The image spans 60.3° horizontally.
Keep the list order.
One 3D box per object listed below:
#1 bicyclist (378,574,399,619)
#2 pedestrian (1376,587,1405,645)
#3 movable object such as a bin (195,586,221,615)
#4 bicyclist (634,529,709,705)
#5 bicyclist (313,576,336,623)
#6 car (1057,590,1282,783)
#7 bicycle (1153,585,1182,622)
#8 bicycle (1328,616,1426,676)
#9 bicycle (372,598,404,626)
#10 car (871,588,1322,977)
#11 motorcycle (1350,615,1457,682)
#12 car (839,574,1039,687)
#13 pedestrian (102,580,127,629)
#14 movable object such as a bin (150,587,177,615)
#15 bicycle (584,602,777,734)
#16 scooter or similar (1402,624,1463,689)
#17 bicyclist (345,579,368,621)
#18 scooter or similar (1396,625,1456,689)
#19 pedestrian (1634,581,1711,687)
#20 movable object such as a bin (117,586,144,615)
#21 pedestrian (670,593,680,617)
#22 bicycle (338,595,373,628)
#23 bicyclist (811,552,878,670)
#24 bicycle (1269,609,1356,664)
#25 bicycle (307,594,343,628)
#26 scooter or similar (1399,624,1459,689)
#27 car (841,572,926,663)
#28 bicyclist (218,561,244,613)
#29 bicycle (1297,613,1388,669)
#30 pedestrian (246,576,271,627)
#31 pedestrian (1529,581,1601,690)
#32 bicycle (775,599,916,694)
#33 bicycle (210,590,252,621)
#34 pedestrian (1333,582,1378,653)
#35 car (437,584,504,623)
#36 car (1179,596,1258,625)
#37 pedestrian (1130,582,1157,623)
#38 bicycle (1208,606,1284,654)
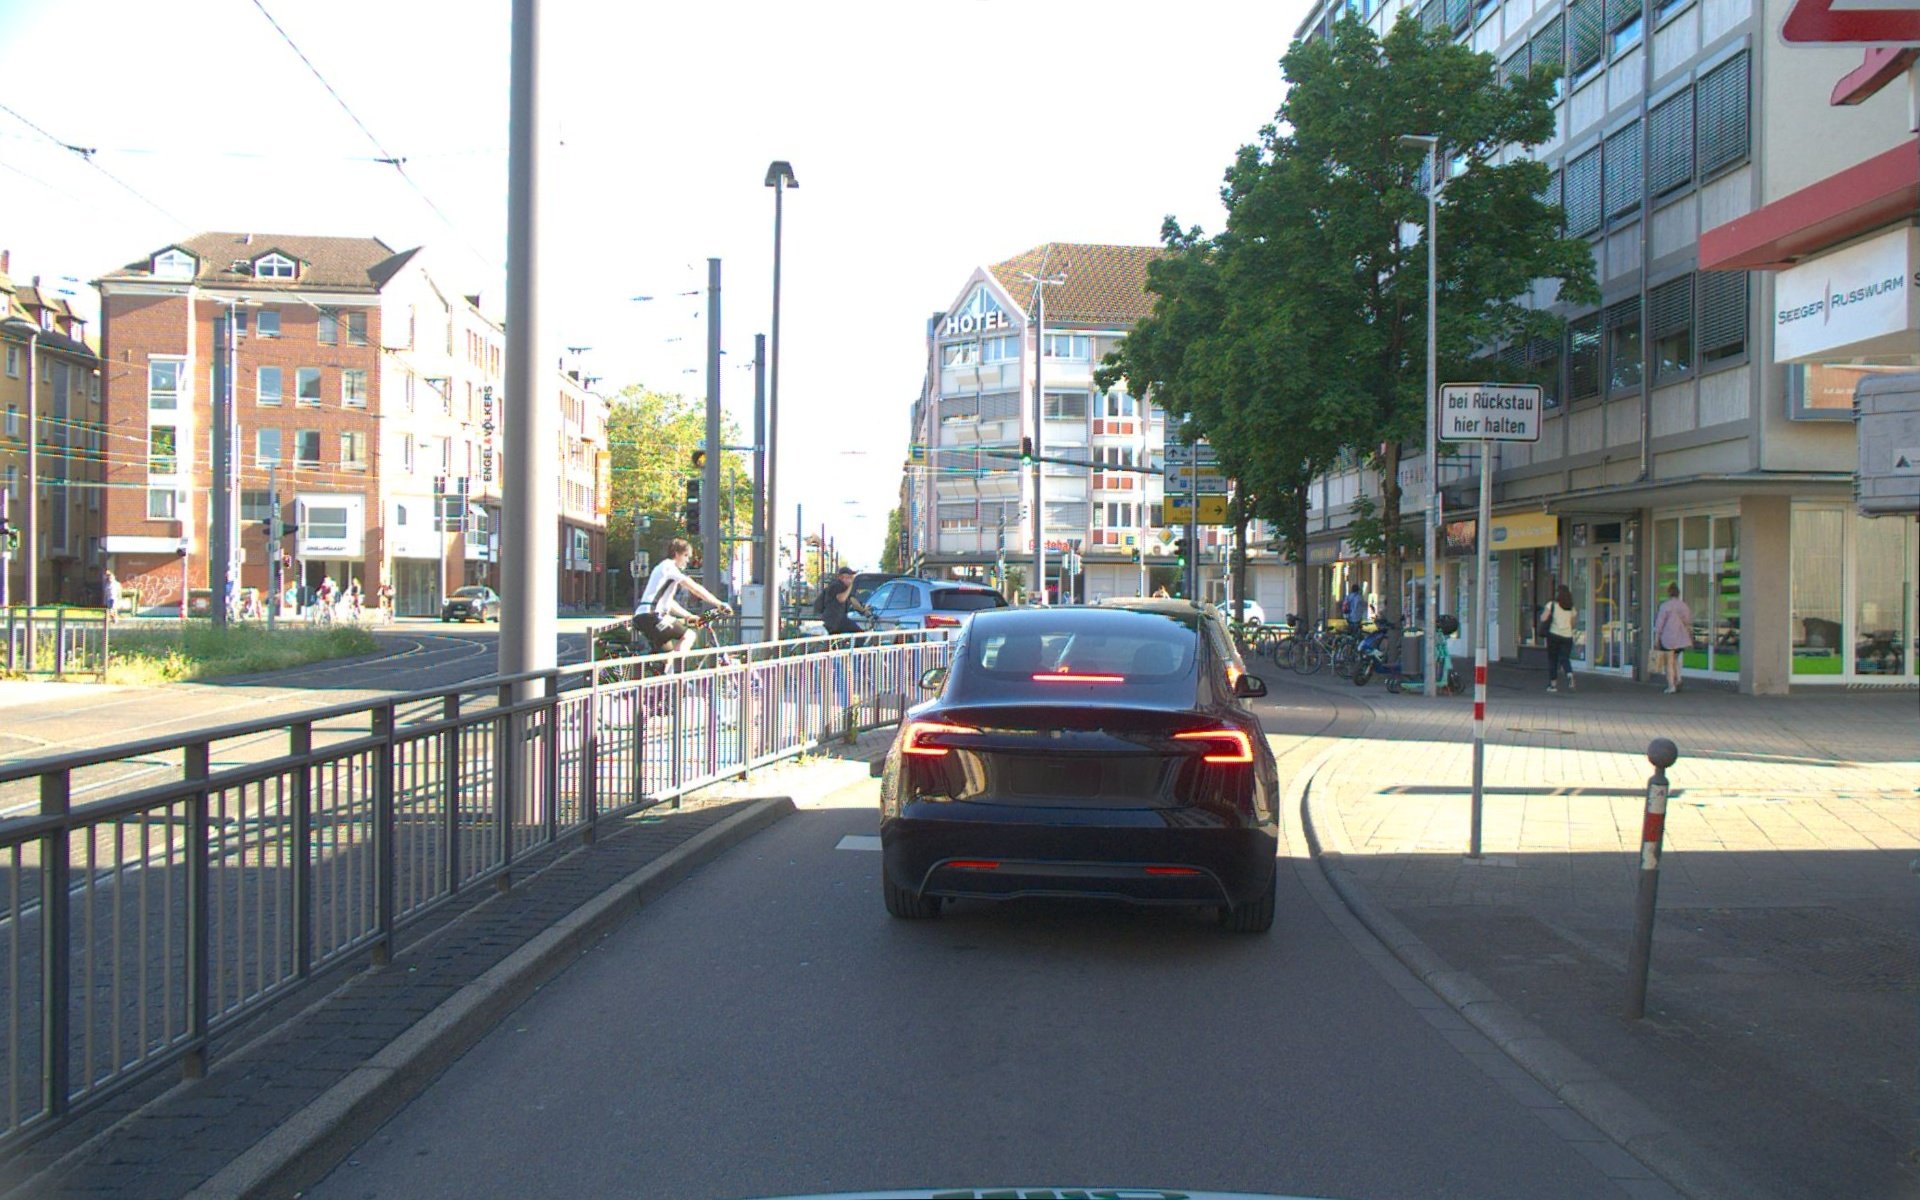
[{"bbox_3d":[-21.856,-0.117,63.274,0.514,1.702,0.770,1,-1,1],"label":"bicyclist"},{"bbox_3d":[10.818,0.404,41.537,0.631,1.447,0.621,1,-1,9],"label":"pedestrian"},{"bbox_3d":[-39.272,0.025,86.382,0.978,1.462,1.093,1,0,-10],"label":"movable object such as a bin"},{"bbox_3d":[-2.793,0.169,15.978,0.669,1.659,0.577,1,-1,-12],"label":"bicyclist"},{"bbox_3d":[-23.342,-0.006,60.765,0.510,1.702,0.770,1,-1,0],"label":"bicyclist"},{"bbox_3d":[1.792,0.661,15.183,1.727,1.469,4.531,1,0,4],"label":"car"},{"bbox_3d":[8.366,0.142,66.806,0.573,1.489,1.679,0,0,-16],"label":"bicycle"},{"bbox_3d":[7.929,0.868,31.437,1.817,1.074,0.398,-1,0,-12],"label":"bicycle"},{"bbox_3d":[-21.865,0.452,63.293,0.519,1.031,1.897,1,0,1],"label":"bicycle"},{"bbox_3d":[0.669,0.700,8.502,1.753,1.476,3.942,1,1,4],"label":"car"},{"bbox_3d":[7.860,0.855,29.325,1.751,1.149,0.504,1,-1,-3],"label":"motorcycle"},{"bbox_3d":[-0.396,0.456,26.194,1.818,1.663,3.455,1,0,-27],"label":"car"},{"bbox_3d":[-30.650,0.164,59.977,0.613,1.717,0.703,1,1,-13],"label":"pedestrian"},{"bbox_3d":[-41.513,0.043,86.179,0.978,1.462,1.093,1,0,-10],"label":"movable object such as a bin"},{"bbox_3d":[-2.696,0.654,15.992,1.788,1.233,0.580,1,-1,-12],"label":"bicycle"},{"bbox_3d":[7.713,0.919,27.000,0.943,1.061,0.160,0,0,2],"label":"scooter or similar"},{"bbox_3d":[-24.320,-0.010,66.632,0.576,1.678,0.807,1,-1,3],"label":"bicyclist"},{"bbox_3d":[7.723,0.943,27.399,0.943,1.045,0.160,0,0,2],"label":"scooter or similar"},{"bbox_3d":[11.277,0.528,26.201,0.826,1.630,0.880,1,-1,-1],"label":"pedestrian"},{"bbox_3d":[-43.032,0.016,85.819,0.978,1.462,1.093,1,0,-10],"label":"movable object such as a bin"},{"bbox_3d":[-18.738,0.355,108.798,0.574,1.557,0.634,1,-1,-18],"label":"pedestrian"},{"bbox_3d":[-24.332,0.459,66.589,0.561,1.313,2.027,1,0,3],"label":"bicycle"},{"bbox_3d":[-1.556,0.151,22.212,0.674,1.550,0.628,1,-1,-32],"label":"bicyclist"},{"bbox_3d":[7.557,0.785,35.468,1.774,1.172,0.435,0,0,-5],"label":"bicycle"},{"bbox_3d":[-23.348,0.399,60.846,0.519,1.235,1.885,1,0,1],"label":"bicycle"},{"bbox_3d":[7.718,0.932,27.198,0.936,1.057,0.160,0,0,2],"label":"scooter or similar"},{"bbox_3d":[-1.495,0.325,32.285,1.541,1.646,3.781,1,0,-3],"label":"car"},{"bbox_3d":[-24.480,-0.437,55.552,0.510,1.702,0.770,1,-1,0],"label":"bicyclist"},{"bbox_3d":[7.731,0.824,33.435,1.730,1.075,0.458,1,-1,4],"label":"bicycle"},{"bbox_3d":[-28.481,0.076,67.169,0.582,2.049,0.830,1,-1,2],"label":"pedestrian"},{"bbox_3d":[9.874,0.577,27.018,0.826,1.737,0.880,1,-1,-1],"label":"pedestrian"},{"bbox_3d":[-1.526,0.622,22.231,1.802,1.233,0.635,1,-1,-32],"label":"bicycle"},{"bbox_3d":[-24.490,0.186,55.575,0.519,1.031,1.885,1,0,1],"label":"bicycle"},{"bbox_3d":[9.945,0.445,41.568,0.829,1.751,0.876,1,-1,36],"label":"pedestrian"},{"bbox_3d":[-20.775,0.163,70.388,1.650,1.588,4.121,1,0,-1],"label":"car"},{"bbox_3d":[13.497,0.545,86.534,3.766,1.457,1.801,1,-2,-6],"label":"car"},{"bbox_3d":[7.413,0.100,66.810,0.766,1.604,0.864,1,1,-16],"label":"pedestrian"},{"bbox_3d":[7.340,0.772,42.519,1.851,1.177,0.480,-1,-1,0],"label":"bicycle"}]
